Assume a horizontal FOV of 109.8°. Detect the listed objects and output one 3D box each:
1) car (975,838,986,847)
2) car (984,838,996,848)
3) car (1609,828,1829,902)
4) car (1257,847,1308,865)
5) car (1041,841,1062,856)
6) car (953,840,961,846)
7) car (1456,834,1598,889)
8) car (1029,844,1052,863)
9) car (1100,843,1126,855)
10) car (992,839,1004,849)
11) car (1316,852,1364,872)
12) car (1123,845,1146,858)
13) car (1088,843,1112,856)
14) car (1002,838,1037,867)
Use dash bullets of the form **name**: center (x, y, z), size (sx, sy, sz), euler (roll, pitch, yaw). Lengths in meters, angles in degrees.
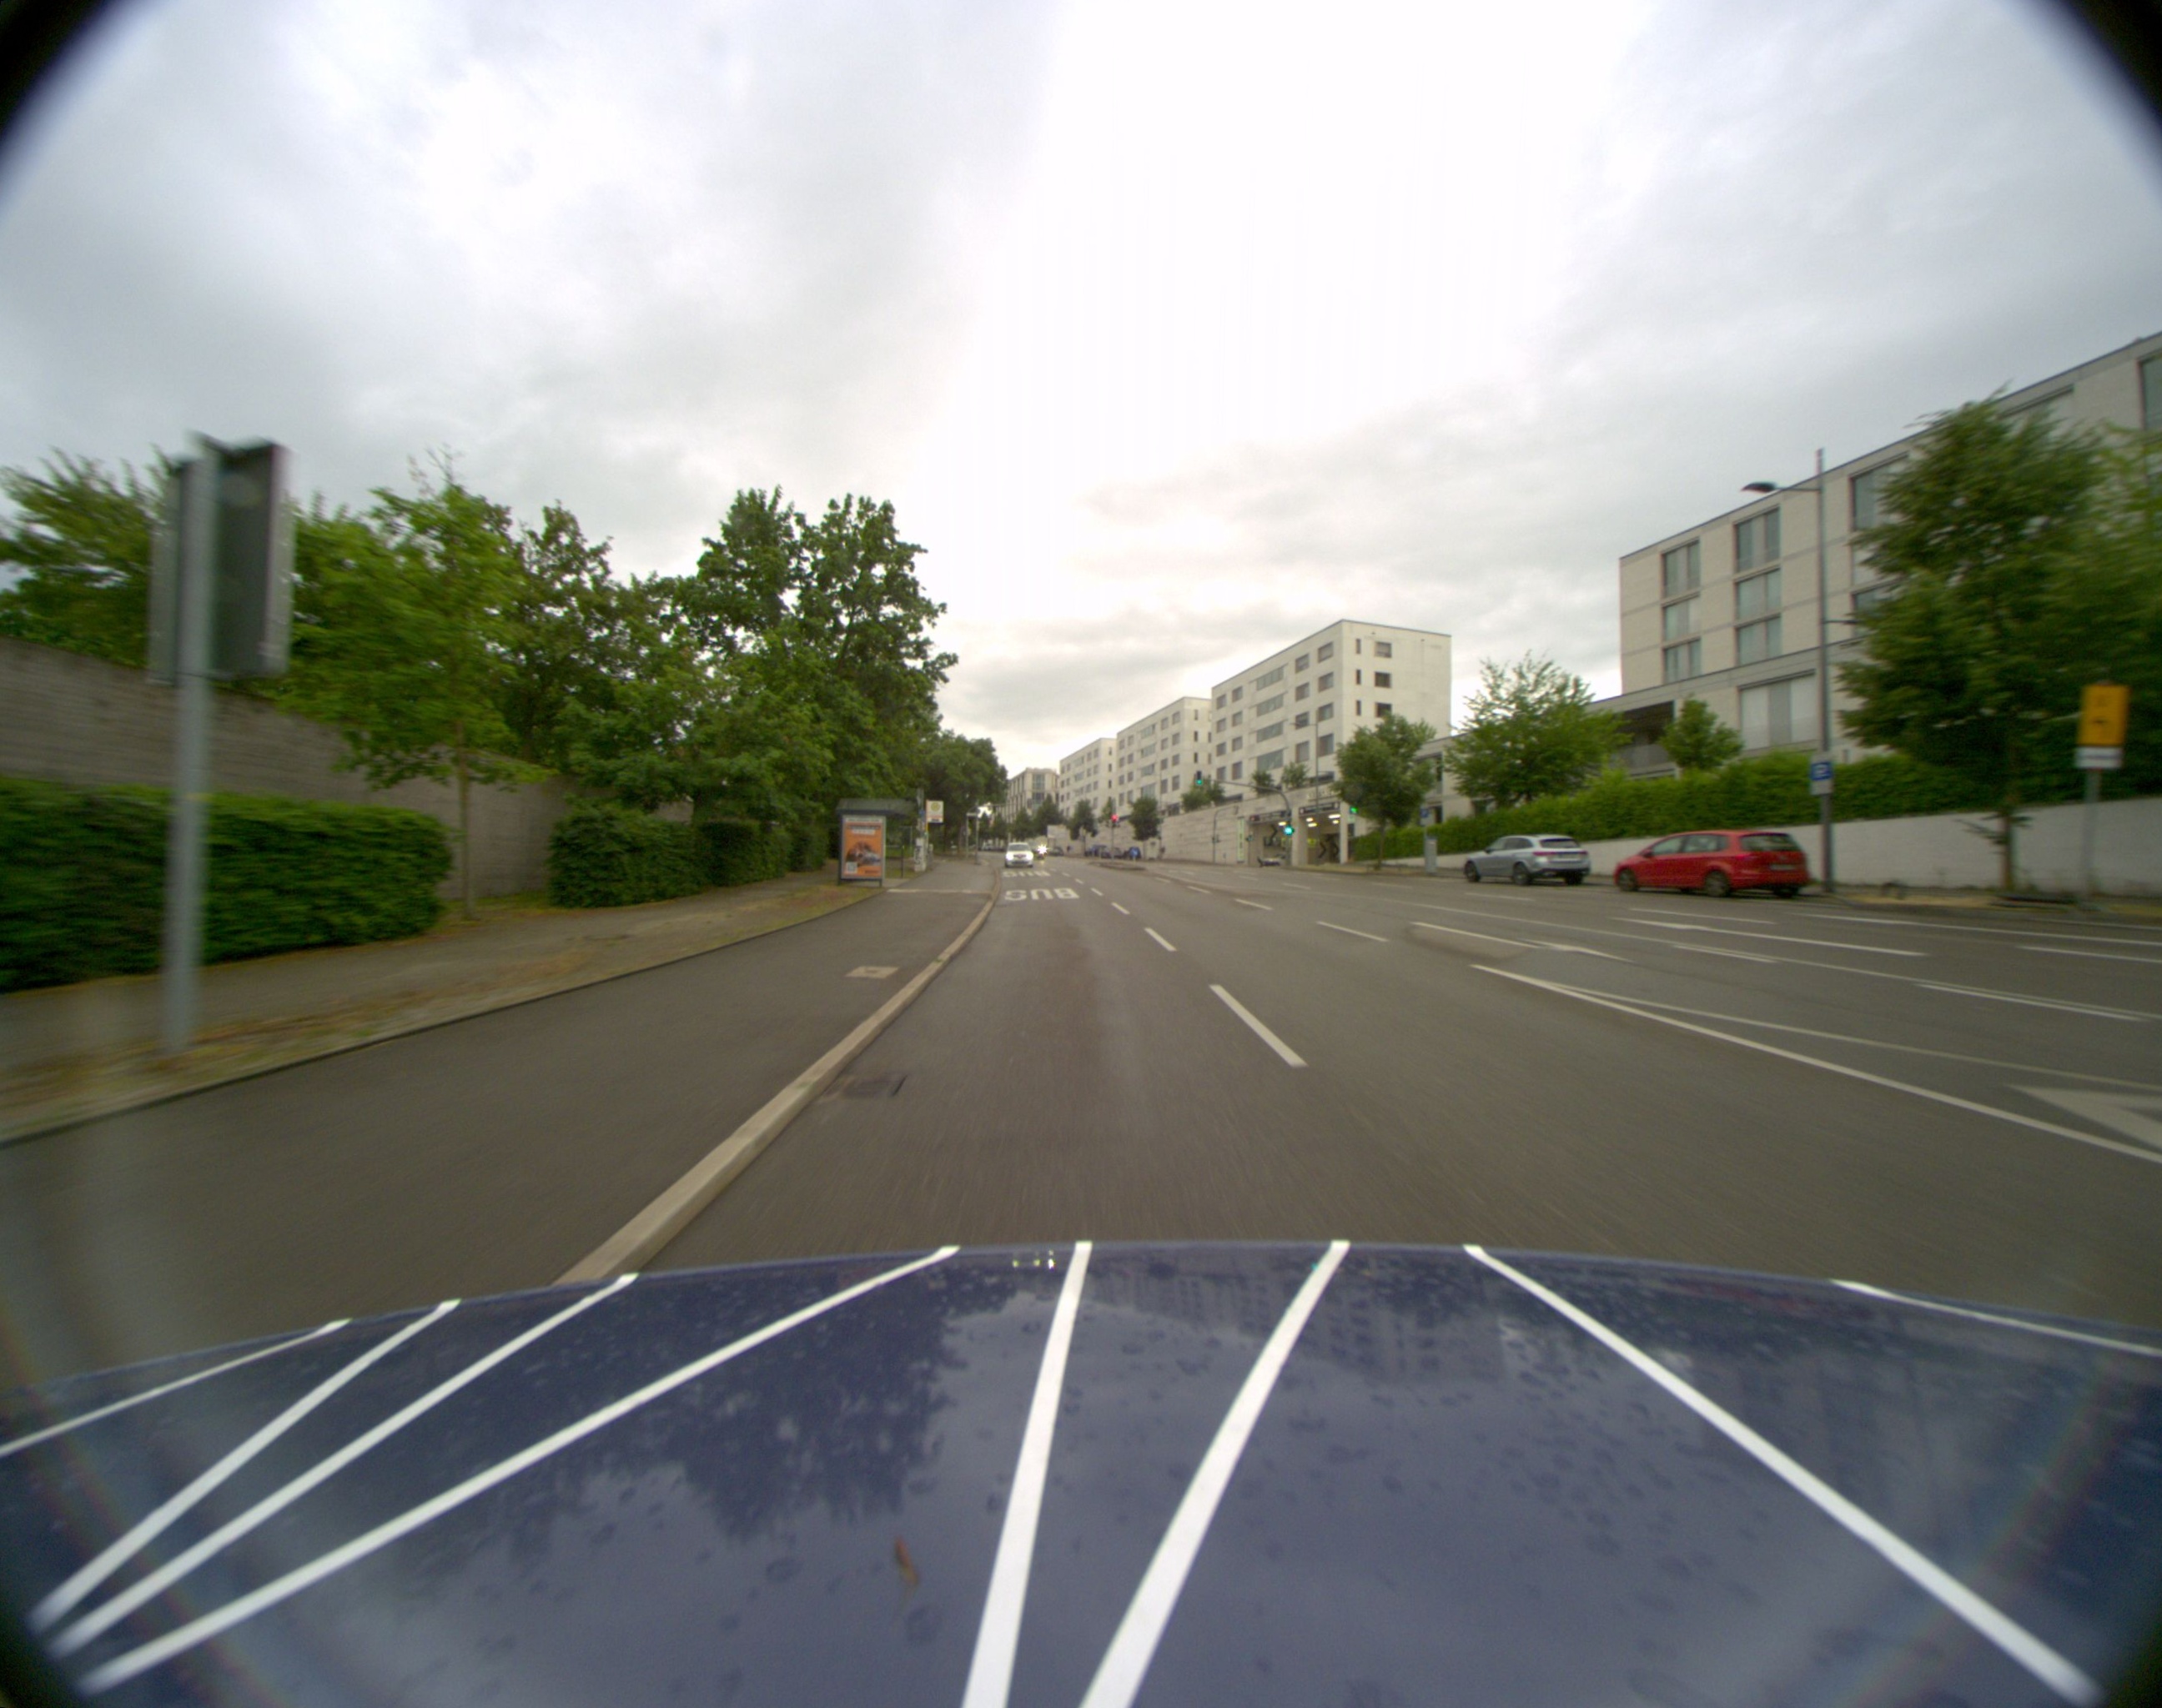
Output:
- **car**: center (-22.354, -2.552, 168.795), size (2.001, 2.002, 3.994), euler (1, 1, -15)
- **car**: center (-20.561, -2.432, 171.656), size (1.927, 2.001, 4.380), euler (0, -1, -16)
- **car**: center (15.172, 0.222, 18.428), size (1.669, 1.577, 4.215), euler (0, 1, -2)
- **car**: center (19.605, 0.189, 73.967), size (4.351, 1.642, 1.996), euler (1, 1, -20)
- **car**: center (-4.171, -0.748, 107.180), size (1.927, 2.001, 4.380), euler (0, -1, -16)
- **car**: center (-36.596, -3.178, 224.955), size (2.001, 1.740, 3.994), euler (0, 1, -14)
- **car**: center (14.732, 0.193, 25.476), size (1.769, 1.644, 4.882), euler (-1, 1, -2)
- **car**: center (-3.684, -0.036, 69.812), size (1.830, 1.584, 4.000), euler (-1, -1, 0)
- **car**: center (4.015, -0.627, 95.162), size (1.865, 1.469, 3.993), euler (0, 1, -20)
- **car**: center (-18.135, -2.225, 165.351), size (1.927, 2.001, 4.380), euler (0, -1, -16)
- **car**: center (24.545, 0.752, 72.088), size (4.003, 1.762, 1.797), euler (1, 1, -16)
- **car**: center (6.350, -0.346, 89.930), size (1.683, 1.450, 2.691), euler (1, 1, -20)
- **car**: center (2.430, -0.632, 99.752), size (1.792, 1.622, 3.992), euler (1, 1, -20)
- **car**: center (-3.853, -0.062, 48.109), size (1.927, 1.651, 4.001), euler (0, -2, -1)
